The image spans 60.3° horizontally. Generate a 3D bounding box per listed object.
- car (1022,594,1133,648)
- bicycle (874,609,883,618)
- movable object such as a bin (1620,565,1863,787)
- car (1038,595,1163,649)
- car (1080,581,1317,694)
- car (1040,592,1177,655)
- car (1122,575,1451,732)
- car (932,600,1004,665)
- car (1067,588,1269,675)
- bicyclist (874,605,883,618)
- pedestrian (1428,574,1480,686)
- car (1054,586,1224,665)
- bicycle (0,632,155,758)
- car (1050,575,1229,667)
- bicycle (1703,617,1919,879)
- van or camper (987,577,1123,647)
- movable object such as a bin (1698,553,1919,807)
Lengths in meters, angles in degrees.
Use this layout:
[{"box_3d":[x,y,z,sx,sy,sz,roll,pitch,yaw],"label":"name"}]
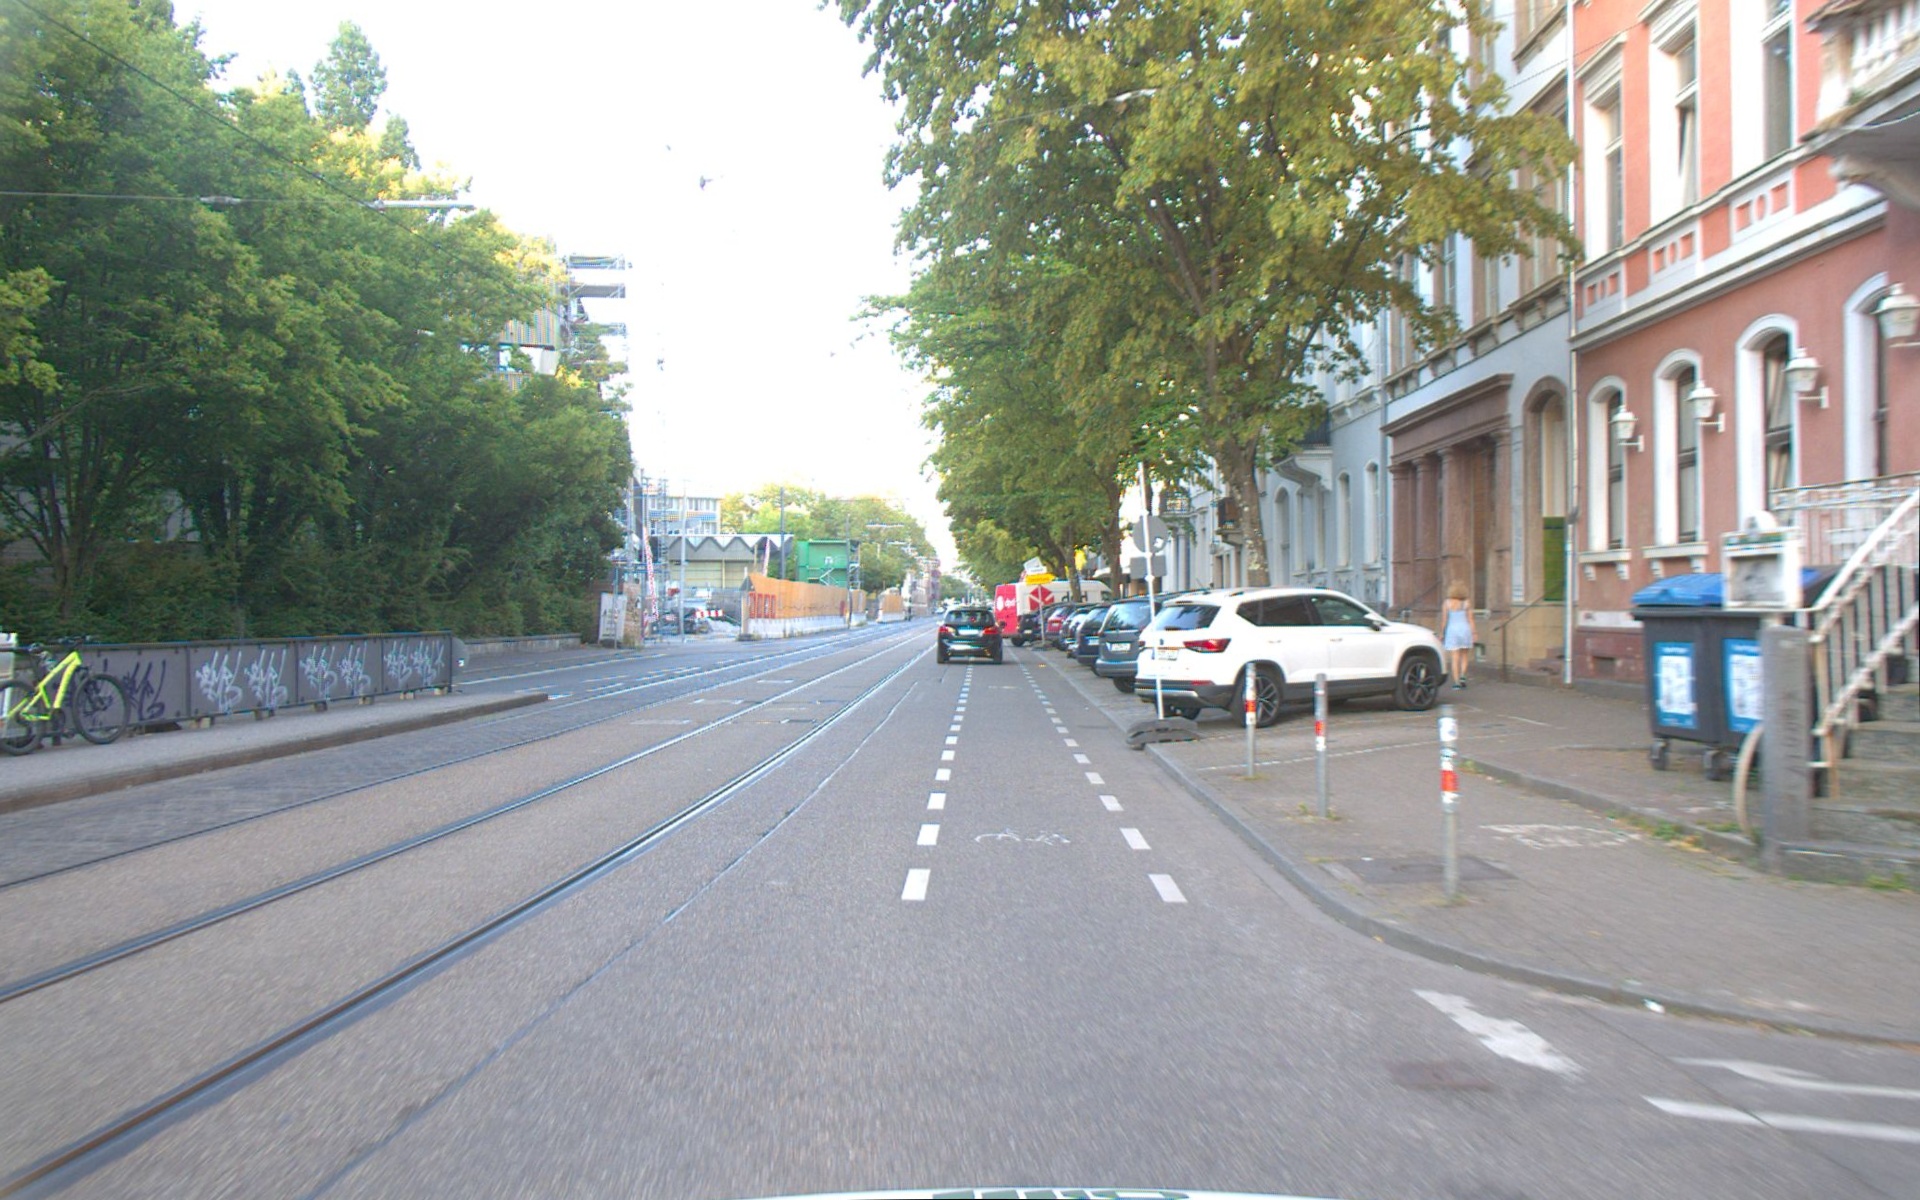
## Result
[{"box_3d":[4.617,0.821,65.032,3.895,1.796,1.825,-4,0,-26],"label":"car"},{"box_3d":[-8.470,1.418,171.673,0.929,0.864,2.696,0,0,-2],"label":"bicycle"},{"box_3d":[5.657,0.523,12.080,1.117,1.528,1.399,0,0,0],"label":"movable object such as a bin"},{"box_3d":[4.870,0.767,57.392,3.894,1.631,1.825,-3,0,-26],"label":"car"},{"box_3d":[4.186,0.629,28.786,3.916,1.697,1.875,-3,-1,-39],"label":"car"},{"box_3d":[4.639,0.726,51.566,3.904,1.631,1.821,-4,-1,-32],"label":"car"},{"box_3d":[4.118,0.610,20.704,3.901,1.655,1.657,-3,1,-30],"label":"car"},{"box_3d":[0.230,0.876,45.970,1.843,1.648,4.000,2,0,0],"label":"car"},{"box_3d":[4.387,0.658,34.794,3.903,1.631,1.821,-2,-1,-32],"label":"car"},{"box_3d":[-8.432,1.166,170.888,0.925,1.369,1.111,-1,-1,-2],"label":"bicyclist"},{"box_3d":[7.285,0.439,24.405,0.574,1.637,0.624,0,0,1],"label":"pedestrian"},{"box_3d":[4.540,0.631,41.852,3.904,1.631,1.821,-5,1,-32],"label":"car"},{"box_3d":[-8.510,0.872,15.855,0.452,1.094,2.023,-1,0,5],"label":"bicycle"},{"box_3d":[4.276,0.488,39.204,3.915,1.630,1.817,-8,2,-36],"label":"car"},{"box_3d":[4.920,0.754,9.122,1.896,1.288,0.594,-1,0,-35],"label":"bicycle"},{"box_3d":[3.998,0.491,69.342,5.485,2.574,2.062,-3,0,-34],"label":"van or camper"},{"box_3d":[5.620,0.481,10.644,1.117,1.528,1.399,0,0,0],"label":"movable object such as a bin"}]
